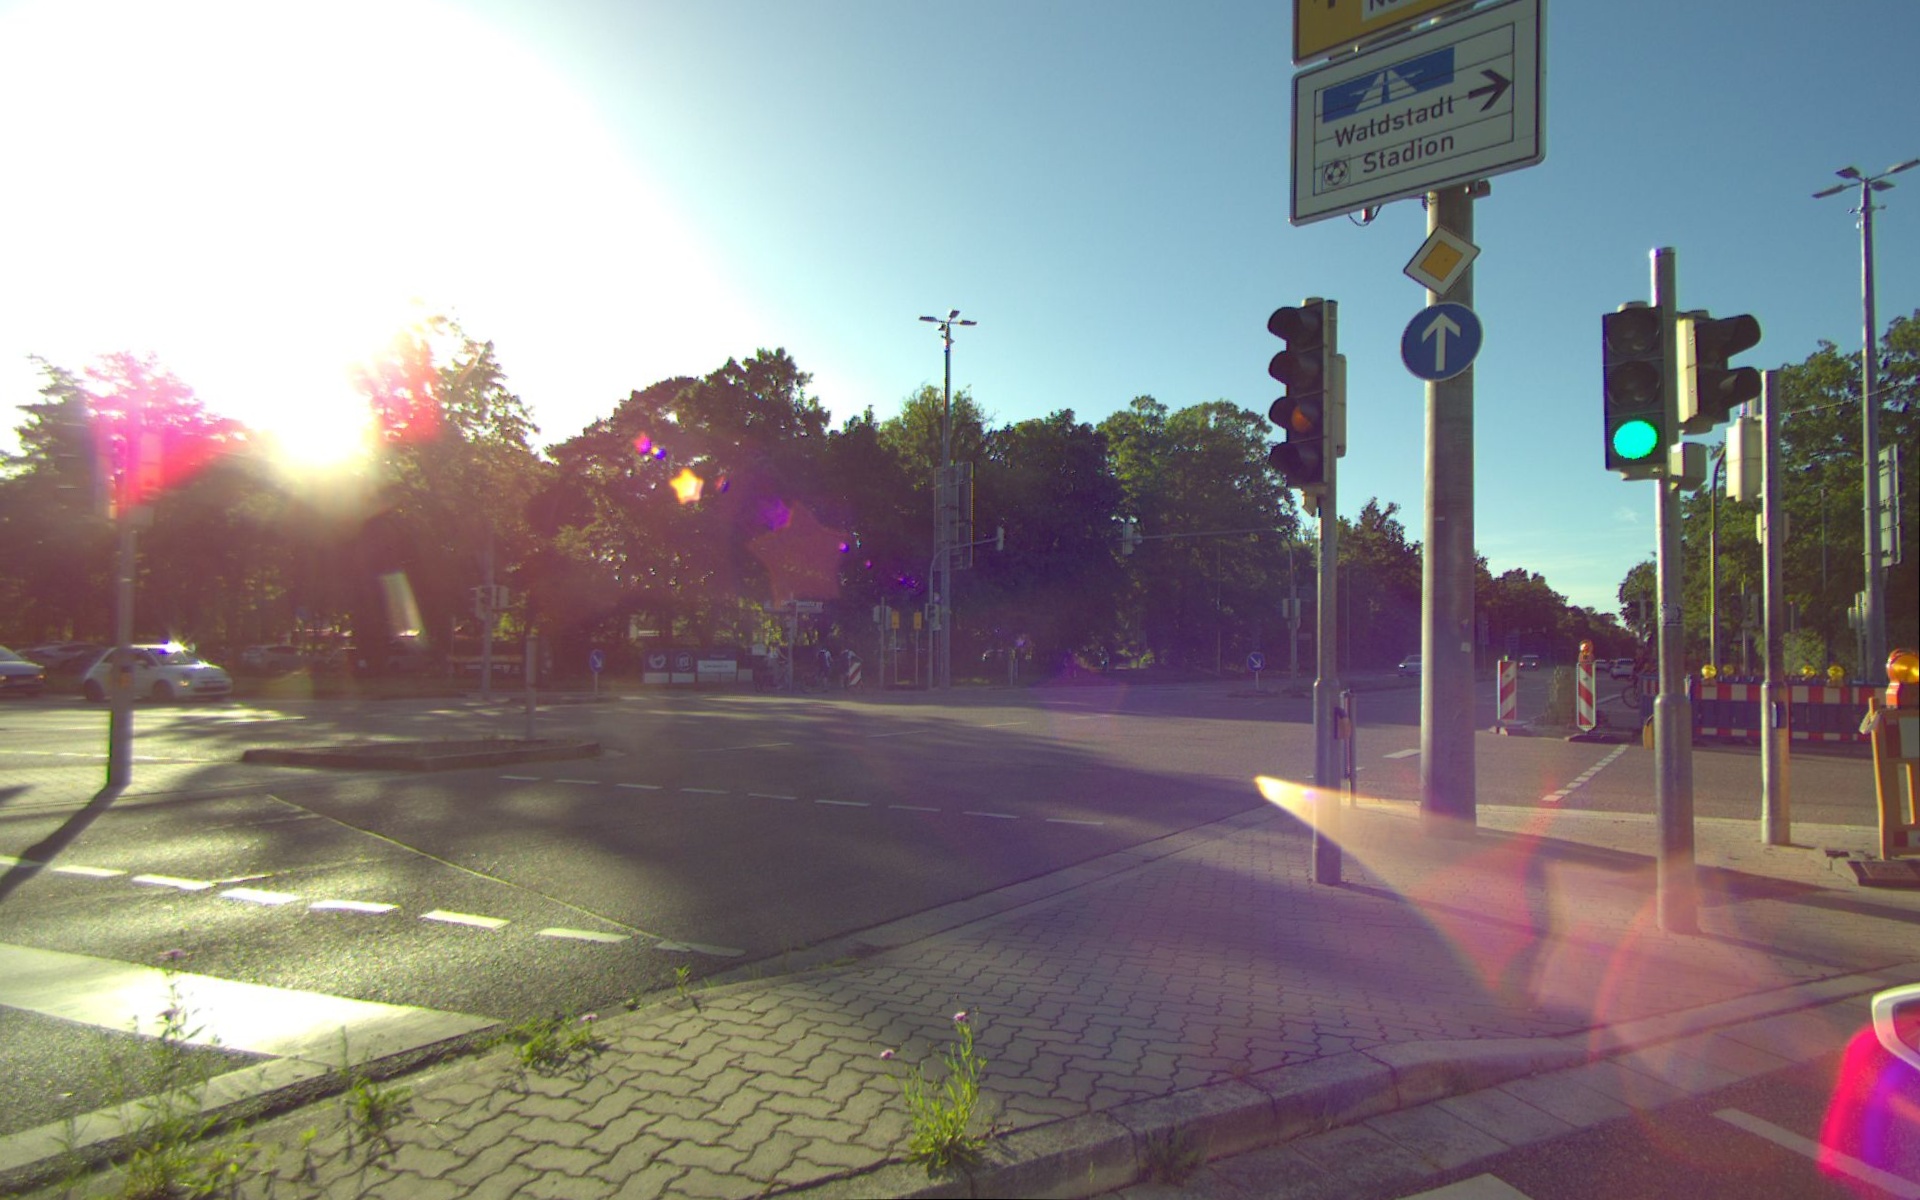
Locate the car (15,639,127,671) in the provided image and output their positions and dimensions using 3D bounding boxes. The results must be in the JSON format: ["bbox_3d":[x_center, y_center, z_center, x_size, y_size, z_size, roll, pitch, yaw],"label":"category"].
[{"bbox_3d":[-46.958,2.902,53.150,1.905,1.640,4.000,0,-3,22],"label":"car"}]

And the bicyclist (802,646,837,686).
[{"bbox_3d":[-4.960,2.320,35.378,0.707,1.373,0.985,-1,-3,42],"label":"bicyclist"}]

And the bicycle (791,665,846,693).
[{"bbox_3d":[-4.963,2.760,35.364,0.707,0.926,1.901,-1,-4,41],"label":"bicycle"}]

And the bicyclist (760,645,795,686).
[{"bbox_3d":[-6.456,2.297,35.491,0.702,1.408,0.985,-1,-3,42],"label":"bicyclist"}]

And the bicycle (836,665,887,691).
[{"bbox_3d":[-3.624,2.851,36.957,0.707,0.926,1.901,-1,-4,41],"label":"bicycle"}]

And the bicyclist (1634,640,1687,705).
[{"bbox_3d":[21.595,2.219,30.997,0.996,1.955,0.969,1,-2,7],"label":"bicyclist"}]

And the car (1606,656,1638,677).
[{"bbox_3d":[48.625,4.875,73.744,1.914,1.433,3.989,-1,-3,34],"label":"car"}]

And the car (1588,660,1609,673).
[{"bbox_3d":[78.620,8.157,123.682,1.840,1.463,3.984,0,-3,38],"label":"car"}]

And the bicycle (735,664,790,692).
[{"bbox_3d":[-7.083,2.801,36.125,0.707,0.926,1.901,-1,-3,41],"label":"bicycle"}]

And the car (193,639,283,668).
[{"bbox_3d":[-43.089,3.184,60.021,1.780,1.620,3.969,0,-3,25],"label":"car"}]

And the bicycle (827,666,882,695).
[{"bbox_3d":[-3.574,2.712,34.126,0.707,0.926,1.901,-1,-4,41],"label":"bicycle"}]

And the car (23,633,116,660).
[{"bbox_3d":[-56.102,2.944,63.334,1.780,1.620,3.969,0,-3,25],"label":"car"}]

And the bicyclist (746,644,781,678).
[{"bbox_3d":[-7.077,2.201,36.150,0.707,1.208,0.985,-1,-3,42],"label":"bicyclist"}]

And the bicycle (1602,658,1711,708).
[{"bbox_3d":[21.462,2.539,30.995,2.586,1.401,0.969,1,-2,7],"label":"bicycle"}]

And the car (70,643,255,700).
[{"bbox_3d":[-21.189,1.882,26.747,3.722,1.407,1.930,0,-3,13],"label":"car"}]

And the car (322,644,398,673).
[{"bbox_3d":[-34.989,3.385,58.686,1.777,1.620,3.504,0,-3,16],"label":"car"}]

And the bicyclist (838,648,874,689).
[{"bbox_3d":[-3.528,2.316,34.184,0.707,1.356,0.985,-1,-3,42],"label":"bicyclist"}]

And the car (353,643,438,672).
[{"bbox_3d":[-32.545,3.303,58.062,1.777,1.620,4.199,0,-3,16],"label":"car"}]

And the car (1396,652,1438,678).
[{"bbox_3d":[33.270,4.707,73.121,1.968,1.812,4.234,-1,-3,37],"label":"car"}]

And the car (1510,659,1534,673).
[{"bbox_3d":[66.980,7.865,119.784,1.968,1.676,4.234,-1,-3,37],"label":"car"}]

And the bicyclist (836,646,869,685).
[{"bbox_3d":[-3.920,2.384,36.632,0.707,1.359,0.985,-1,-3,42],"label":"bicyclist"}]

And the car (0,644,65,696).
[{"bbox_3d":[-27.738,1.933,28.335,3.722,1.407,1.856,0,-3,13],"label":"car"}]

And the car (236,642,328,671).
[{"bbox_3d":[-39.972,3.342,59.355,1.780,1.620,4.148,0,-3,25],"label":"car"}]

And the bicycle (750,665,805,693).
[{"bbox_3d":[-6.436,2.786,35.494,0.707,0.926,1.901,-1,-4,41],"label":"bicycle"}]
